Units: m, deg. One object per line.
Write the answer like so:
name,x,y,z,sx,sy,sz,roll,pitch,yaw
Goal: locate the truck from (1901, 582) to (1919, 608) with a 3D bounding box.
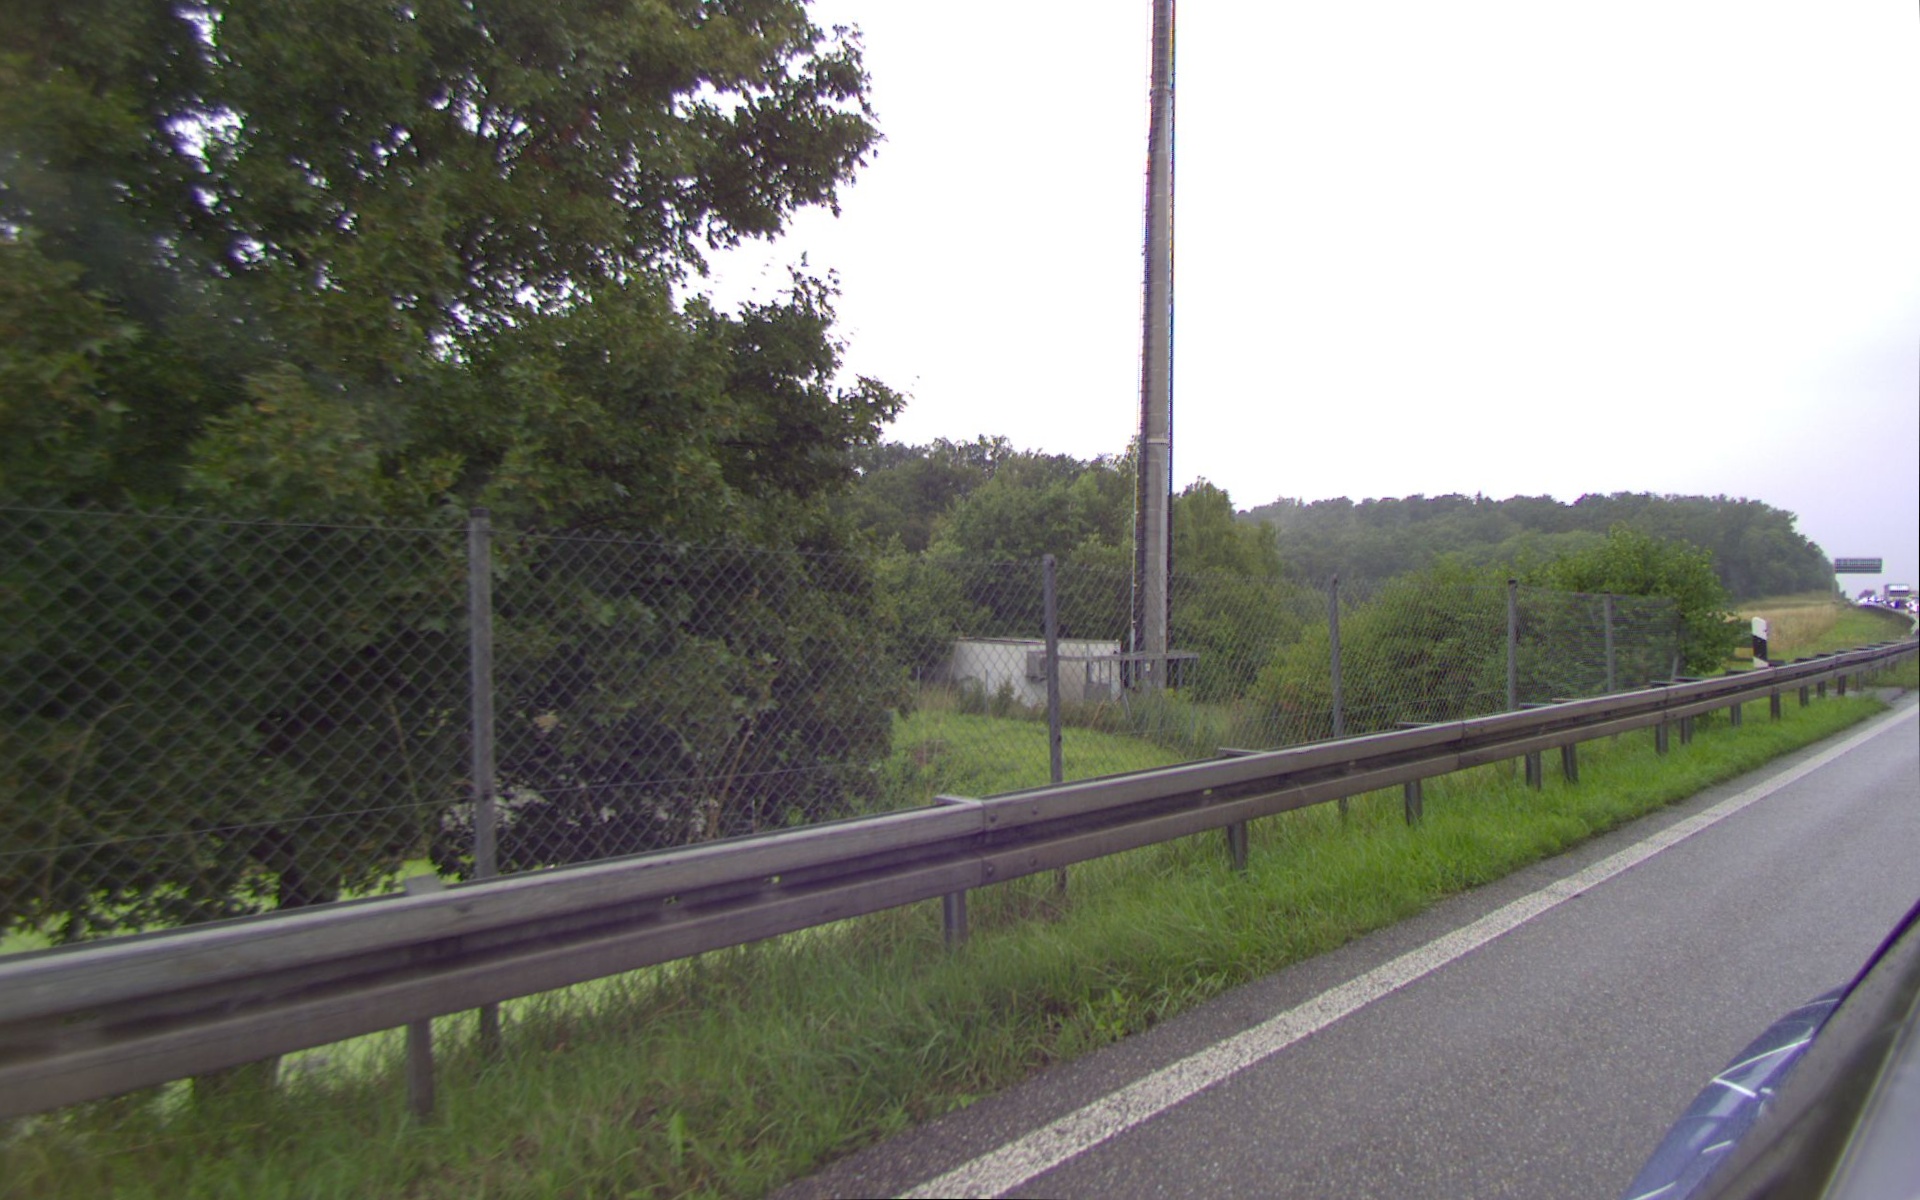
truck,155.476,-0.750,165.007,5.144,4.198,2.591,1,-2,-44
